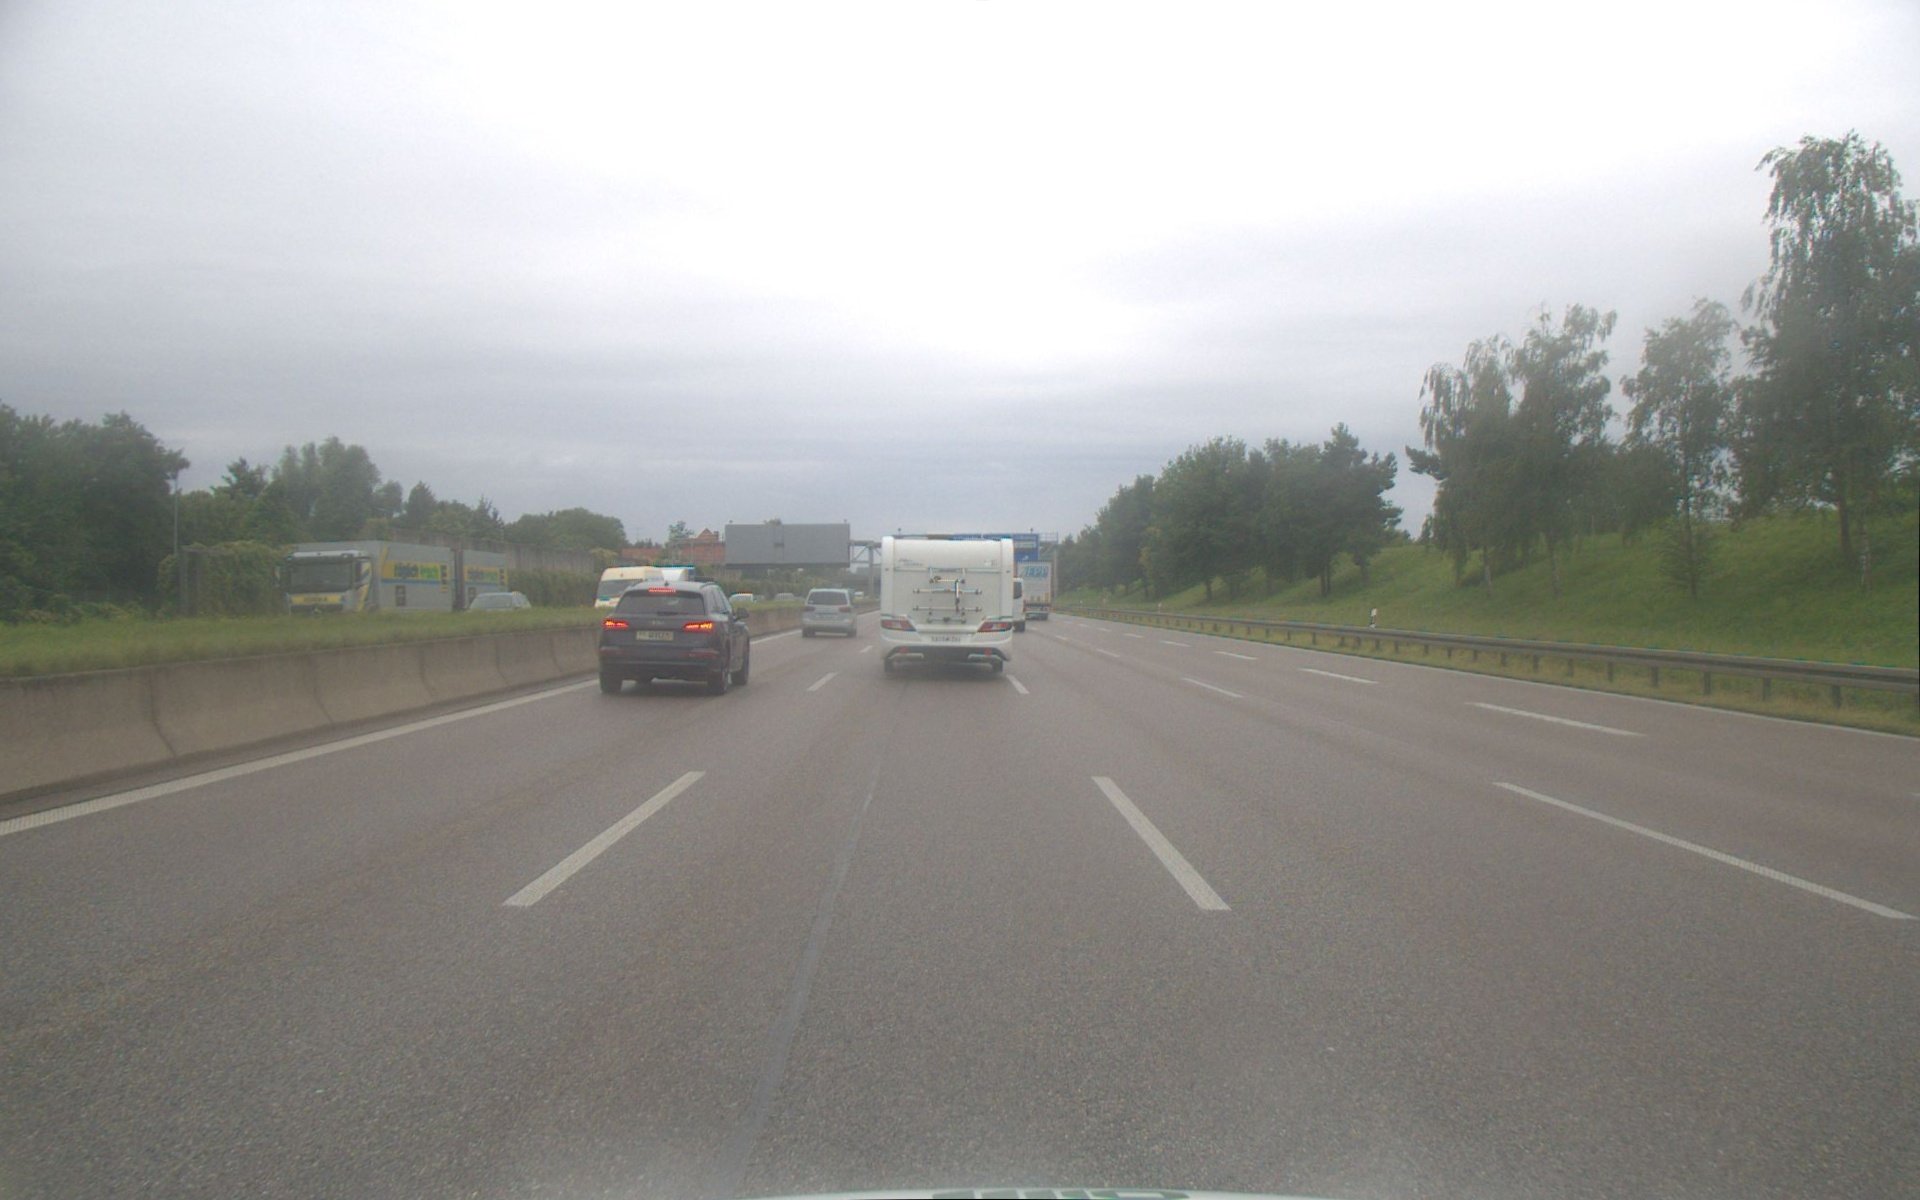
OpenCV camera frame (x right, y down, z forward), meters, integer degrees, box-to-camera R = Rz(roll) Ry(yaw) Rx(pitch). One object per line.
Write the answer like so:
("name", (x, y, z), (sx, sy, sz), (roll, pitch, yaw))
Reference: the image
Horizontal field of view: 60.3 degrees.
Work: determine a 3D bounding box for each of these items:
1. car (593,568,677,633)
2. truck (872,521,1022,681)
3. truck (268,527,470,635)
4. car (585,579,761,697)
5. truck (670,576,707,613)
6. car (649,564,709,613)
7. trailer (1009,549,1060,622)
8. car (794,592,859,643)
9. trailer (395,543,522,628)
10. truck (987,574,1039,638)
("car", (-12.980, 0.031, 66.494), (2.017, 2.427, 7.321), (1, 0, -1))
("truck", (-0.289, 0.026, 31.874), (2.607, 2.790, 5.076), (1, 0, -2))
("truck", (-19.946, -0.561, 56.799), (2.825, 3.277, 11.357), (1, 0, 0))
("car", (-4.357, 0.549, 25.902), (1.953, 1.628, 5.122), (1, 0, -1))
("truck", (-24.949, -0.475, 152.019), (2.268, 3.330, 6.581), (1, 0, 0))
("car", (-16.681, -0.636, 98.468), (2.274, 2.782, 7.315), (1, 0, 0))
("trailer", (5.349, -1.001, 120.612), (3.036, 5.008, 11.789), (1, 0, 0))
("car", (-4.755, 0.606, 59.377), (2.085, 1.736, 4.111), (1, 0, -2))
("trailer", (-20.005, -0.530, 66.495), (2.721, 3.131, 7.871), (1, 0, 0))
("truck", (2.415, 0.273, 76.695), (2.012, 2.818, 5.547), (1, 0, -1))
